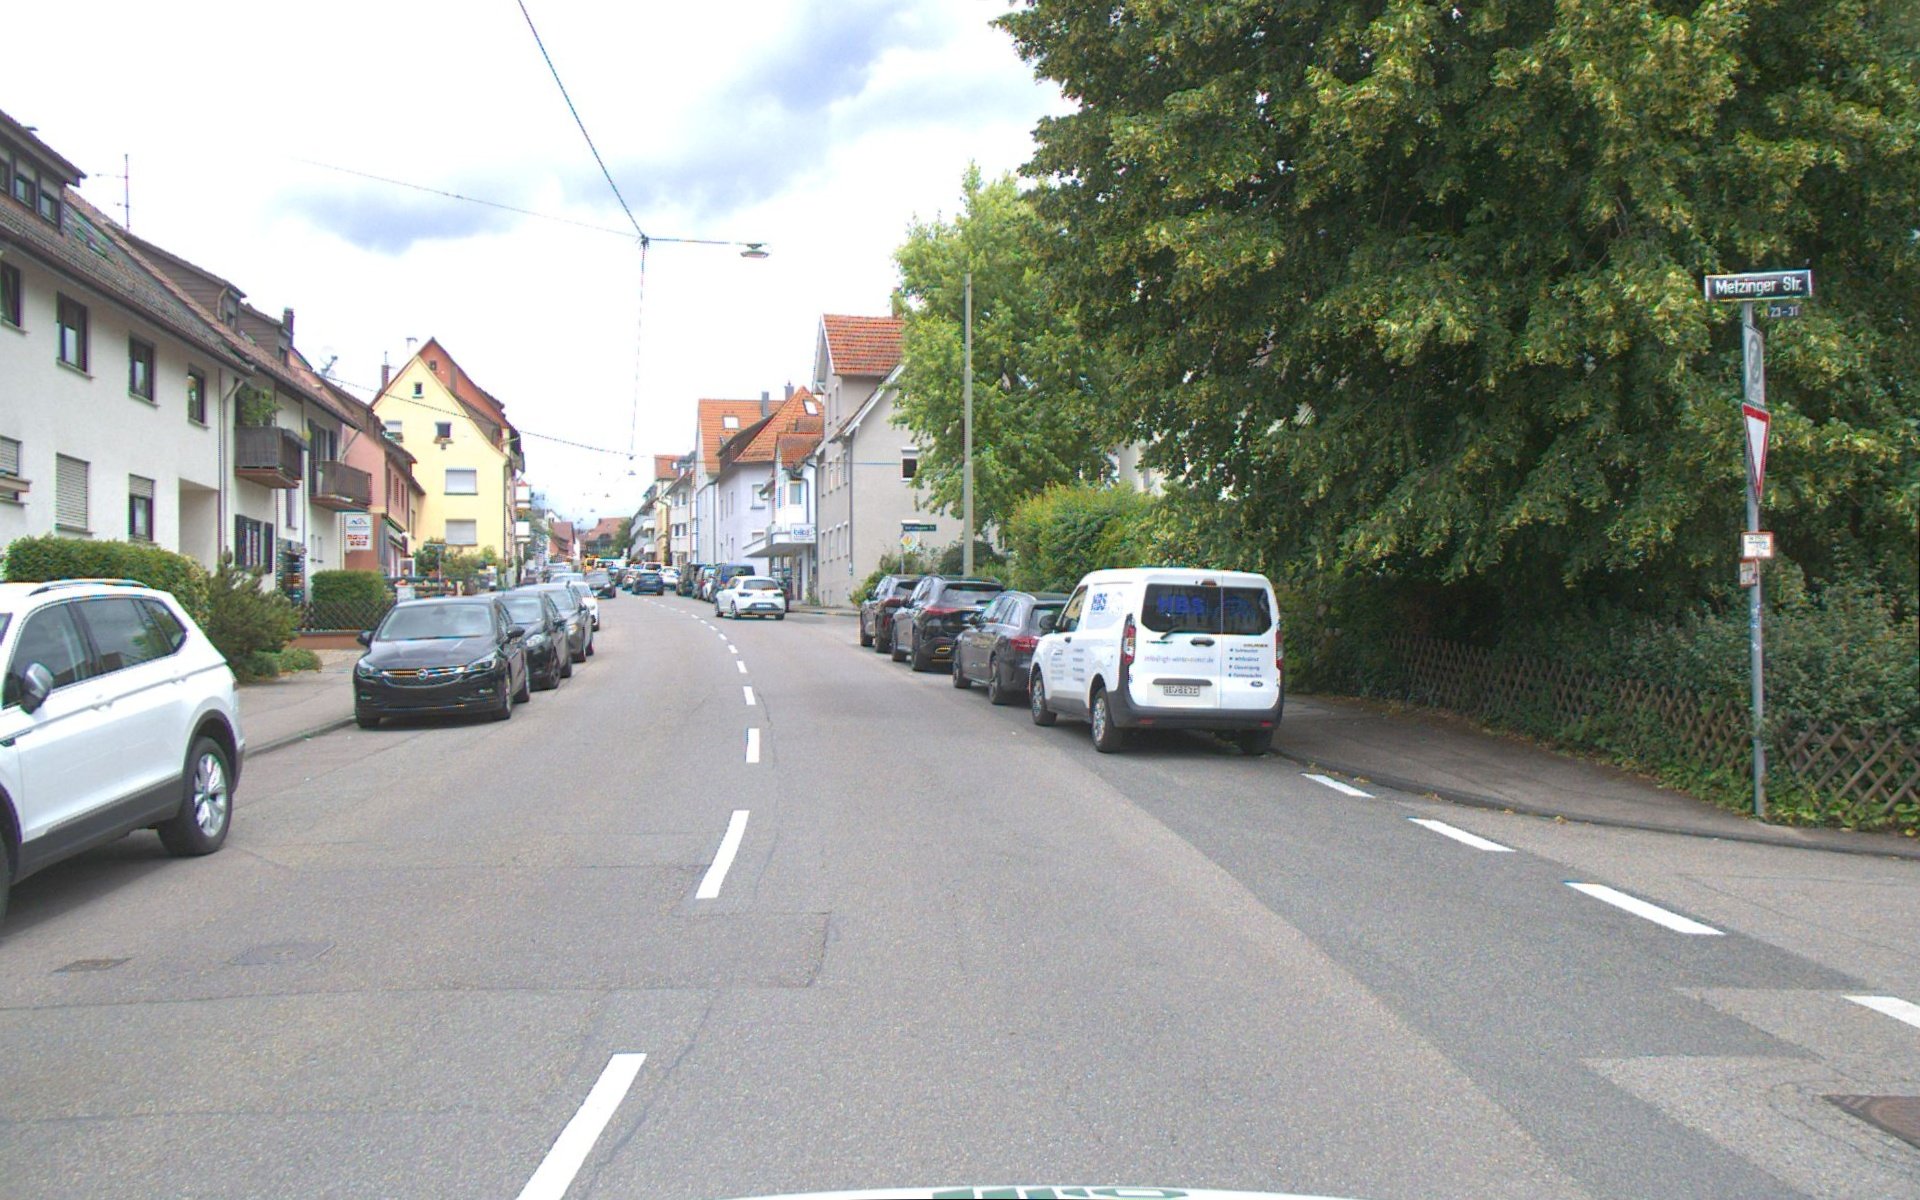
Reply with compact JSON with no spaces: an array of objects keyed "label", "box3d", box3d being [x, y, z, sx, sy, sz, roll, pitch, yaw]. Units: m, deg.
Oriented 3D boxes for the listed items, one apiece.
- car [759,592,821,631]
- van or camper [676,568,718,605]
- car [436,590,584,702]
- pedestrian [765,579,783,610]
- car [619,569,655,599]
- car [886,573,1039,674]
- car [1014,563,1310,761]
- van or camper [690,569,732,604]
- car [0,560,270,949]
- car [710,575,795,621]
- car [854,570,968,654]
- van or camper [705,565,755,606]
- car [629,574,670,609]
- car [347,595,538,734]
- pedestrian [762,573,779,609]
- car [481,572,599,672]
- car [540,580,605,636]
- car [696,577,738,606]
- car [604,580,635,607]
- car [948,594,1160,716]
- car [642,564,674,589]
[{"label":"car","box3d":[-7.428,0.482,71.807,1.960,1.544,4.873,2,0,-15]},{"label":"van or camper","box3d":[-16.178,-0.858,101.508,1.960,2.101,5.922,2,0,-14]},{"label":"car","box3d":[-6.932,0.644,25.831,1.731,1.463,4.069,-4,1,-10]},{"label":"pedestrian","box3d":[-10.526,-0.297,93.657,0.852,1.755,0.619,0,0,20]},{"label":"car","box3d":[-22.539,-1.100,115.339,2.117,2.049,3.984,1,0,-15]},{"label":"car","box3d":[-0.044,0.387,29.691,1.957,1.643,4.528,1,0,-10]},{"label":"car","box3d":[1.970,0.550,17.557,1.805,1.805,4.305,2,1,-11]},{"label":"van or camper","box3d":[-14.187,-0.791,94.020,1.840,1.860,4.662,2,0,-15]},{"label":"car","box3d":[-5.324,0.719,8.585,1.813,1.744,4.571,-2,0,-4]},{"label":"car","box3d":[-7.083,-0.081,56.139,1.914,1.464,3.973,0,1,-22]},{"label":"car","box3d":[-1.111,0.240,35.266,1.778,1.643,4.528,1,0,-10]},{"label":"van or camper","box3d":[-11.536,-0.755,82.605,1.894,1.959,4.811,1,1,-15]},{"label":"car","box3d":[-19.084,-0.549,101.573,2.117,2.049,3.984,1,0,-15]},{"label":"car","box3d":[-6.325,0.713,20.629,1.731,1.463,4.068,-2,1,-10]},{"label":"pedestrian","box3d":[-10.877,-0.495,95.075,0.743,2.049,0.619,0,0,20]},{"label":"car","box3d":[-8.286,0.357,32.970,1.813,1.709,4.776,-3,2,-10]},{"label":"car","box3d":[-11.399,0.210,48.825,1.696,1.483,3.887,-4,1,-12]},{"label":"car","box3d":[-13.054,-0.478,88.594,1.686,1.461,4.621,2,0,-15]},{"label":"car","box3d":[-26.920,-0.528,130.843,2.117,2.049,3.984,1,0,-15]},{"label":"car","box3d":[1.175,0.681,23.057,1.957,1.504,4.609,0,0,-10]},{"label":"car","box3d":[-22.377,-1.728,122.534,1.909,1.722,3.983,2,0,-16]}]
